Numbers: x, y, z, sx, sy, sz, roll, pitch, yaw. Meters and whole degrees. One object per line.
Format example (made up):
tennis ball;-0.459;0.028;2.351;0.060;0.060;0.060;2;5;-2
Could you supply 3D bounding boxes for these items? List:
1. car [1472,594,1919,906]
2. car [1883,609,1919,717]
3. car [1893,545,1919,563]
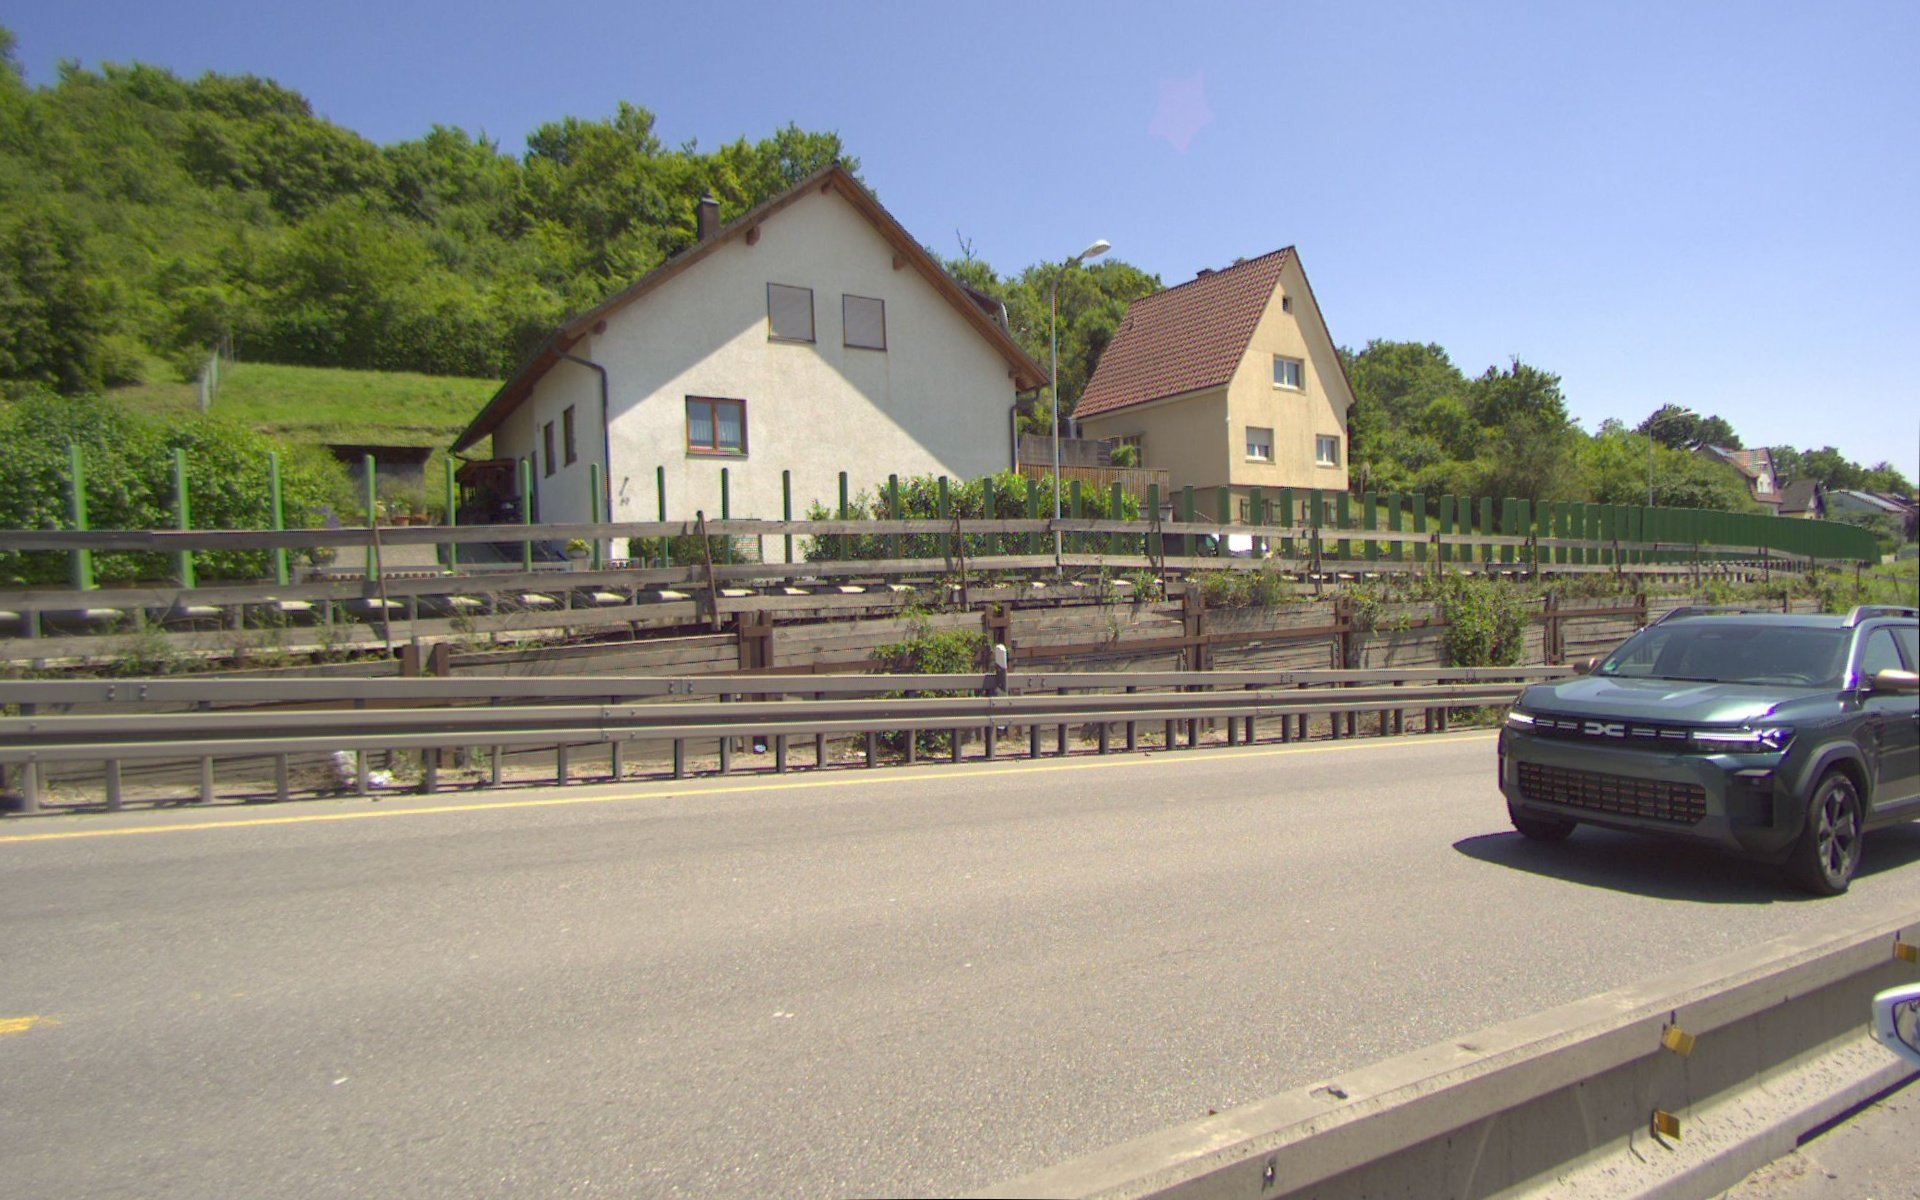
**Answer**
car;5.689;0.835;7.130;4.052;1.655;1.766;1;0;-30
car;18.716;1.149;18.201;4.696;1.858;1.589;2;-2;-30
car;86.440;-4.183;91.718;1.708;1.417;3.781;1;0;42
